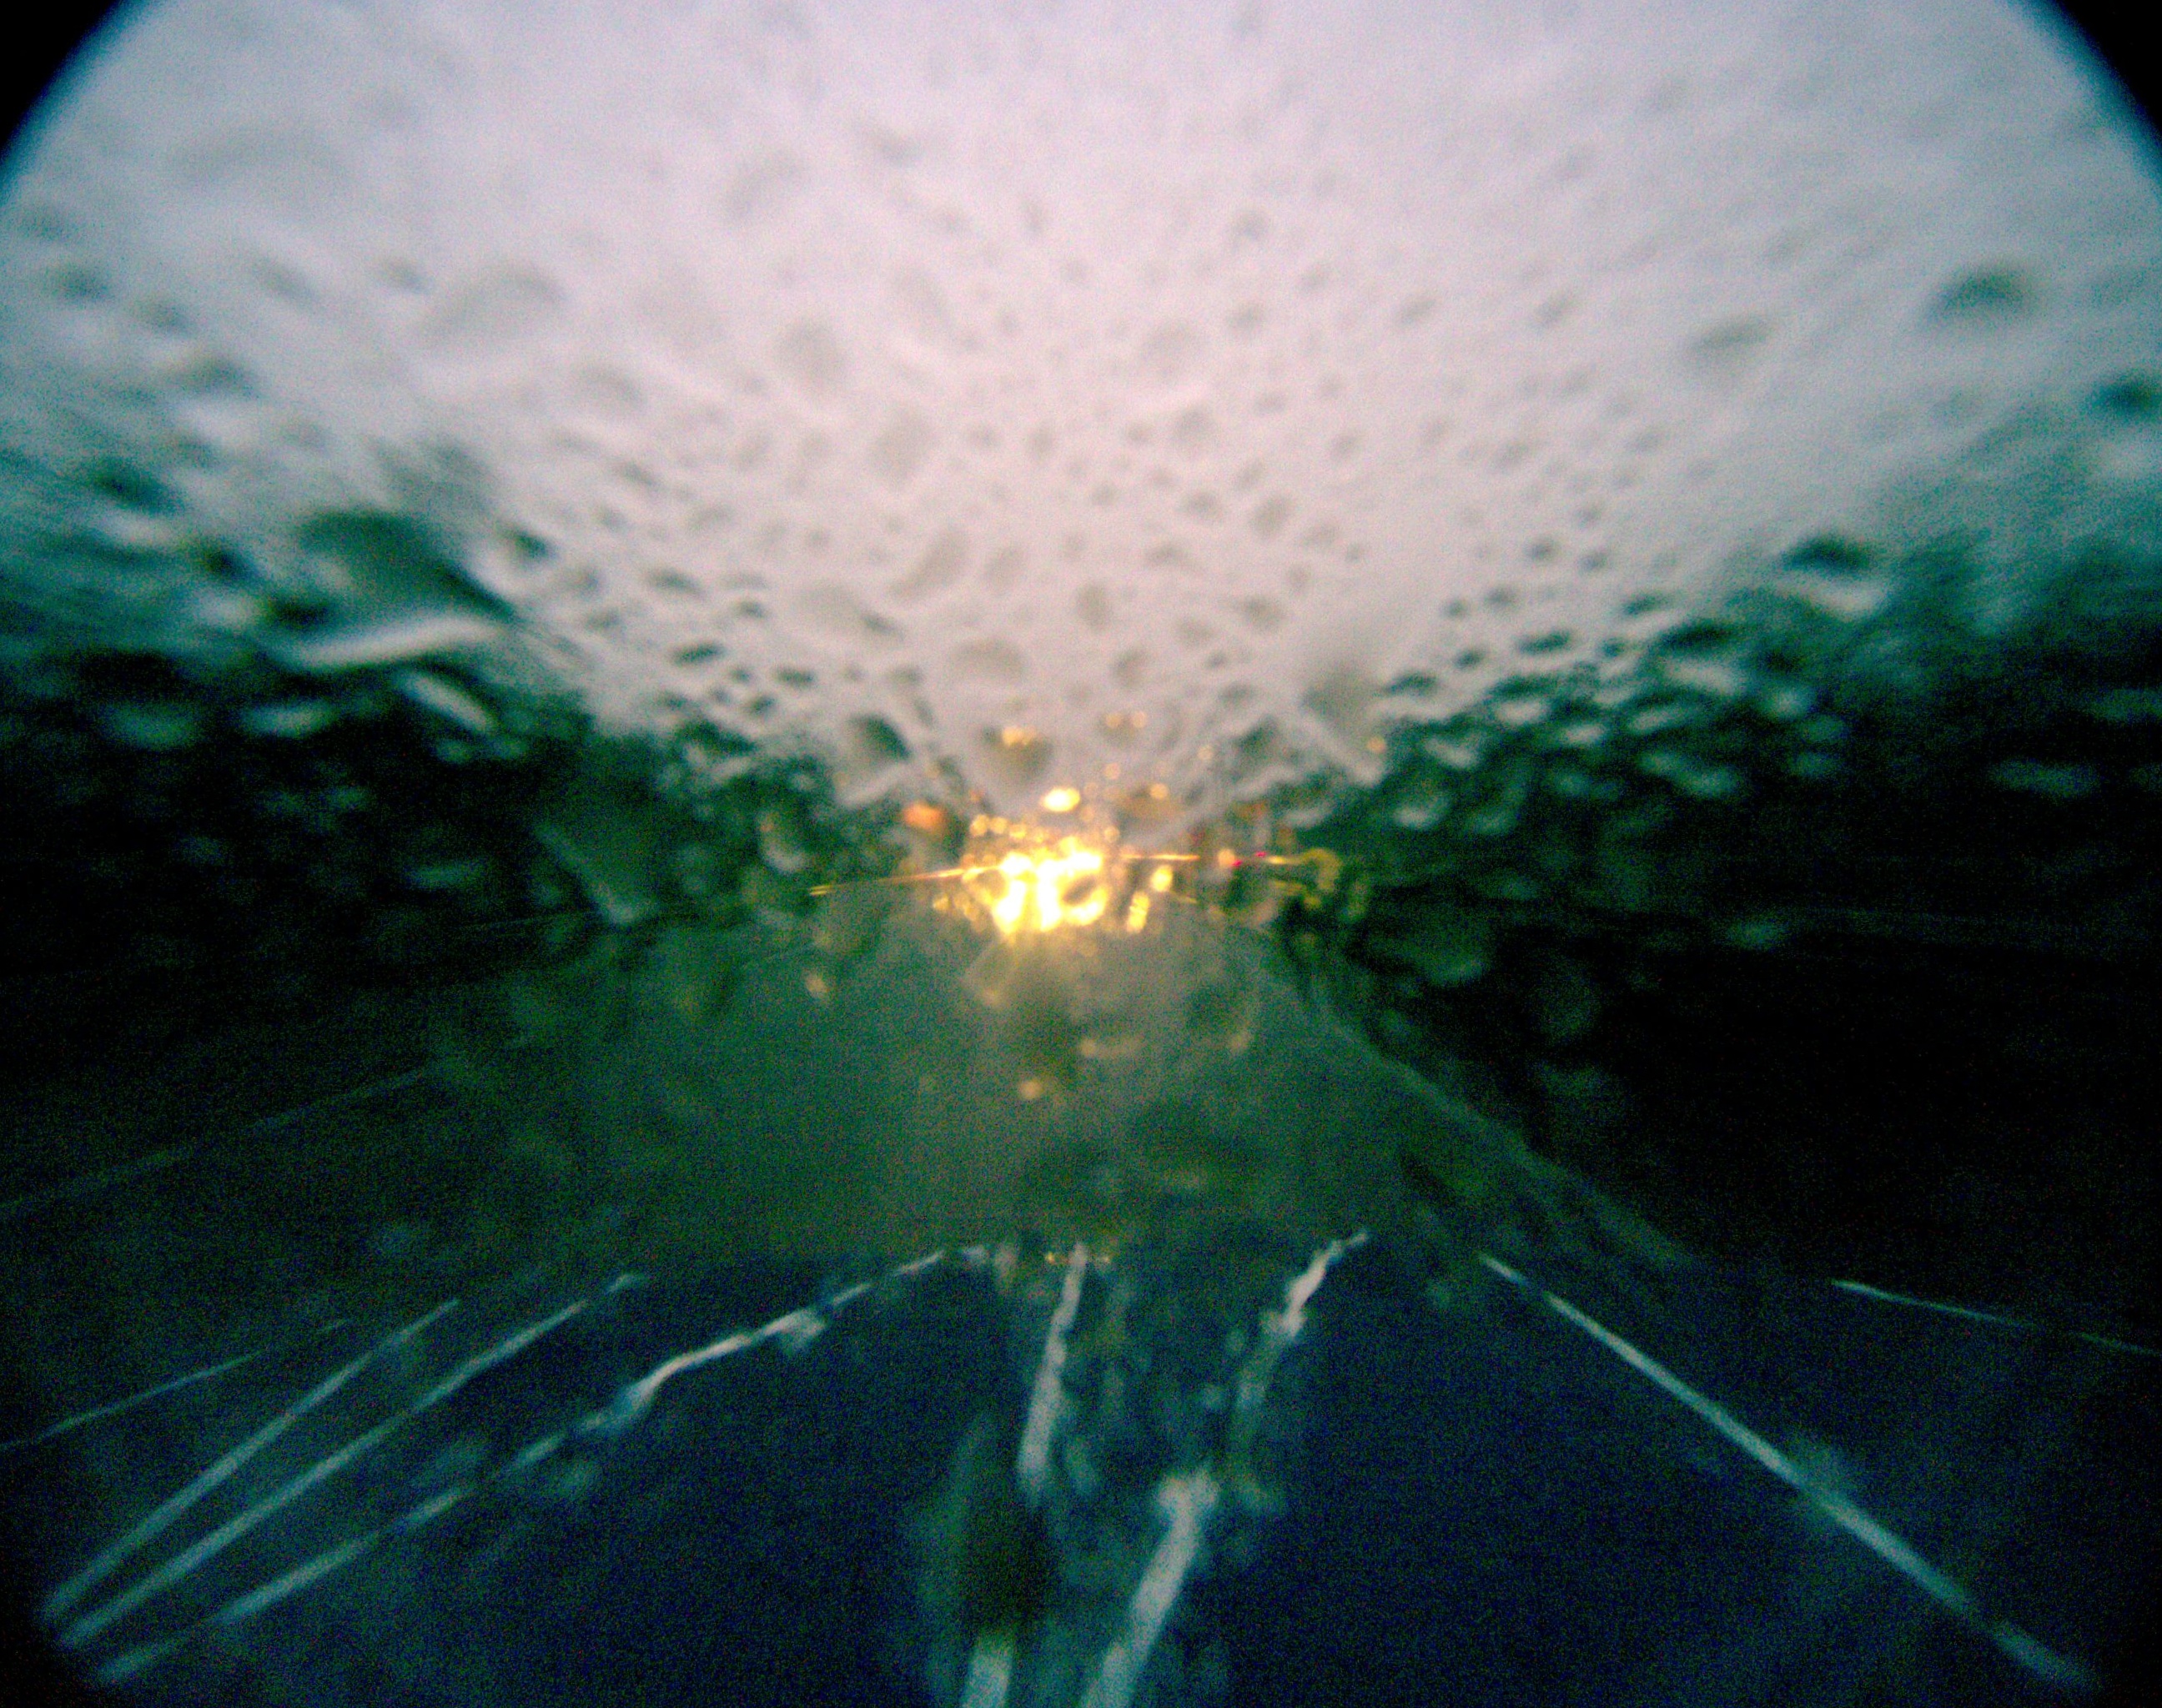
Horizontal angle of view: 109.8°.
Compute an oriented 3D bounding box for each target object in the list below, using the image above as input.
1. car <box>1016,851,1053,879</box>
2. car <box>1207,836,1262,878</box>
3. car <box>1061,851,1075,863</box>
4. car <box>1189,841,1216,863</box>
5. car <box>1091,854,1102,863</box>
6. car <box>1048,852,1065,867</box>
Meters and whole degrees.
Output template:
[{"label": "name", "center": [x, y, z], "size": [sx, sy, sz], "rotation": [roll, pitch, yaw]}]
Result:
[{"label": "car", "center": [-2.623, 0.587, 43.829], "size": [1.791, 1.508, 3.811], "rotation": [-2, 0, 1]}, {"label": "car", "center": [8.253, 0.133, 41.211], "size": [1.999, 2.002, 3.999], "rotation": [-4, 1, -1]}, {"label": "car", "center": [-1.718, 0.404, 100.816], "size": [1.682, 1.500, 3.809], "rotation": [-3, 0, 1]}, {"label": "car", "center": [12.787, -0.239, 80.324], "size": [1.998, 2.199, 4.921], "rotation": [-4, 1, 1]}, {"label": "car", "center": [2.647, 0.820, 131.445], "size": [1.632, 1.466, 4.000], "rotation": [-3, 0, 0]}, {"label": "car", "center": [-2.643, 0.599, 82.871], "size": [1.598, 1.482, 3.594], "rotation": [-3, 0, 1]}]
